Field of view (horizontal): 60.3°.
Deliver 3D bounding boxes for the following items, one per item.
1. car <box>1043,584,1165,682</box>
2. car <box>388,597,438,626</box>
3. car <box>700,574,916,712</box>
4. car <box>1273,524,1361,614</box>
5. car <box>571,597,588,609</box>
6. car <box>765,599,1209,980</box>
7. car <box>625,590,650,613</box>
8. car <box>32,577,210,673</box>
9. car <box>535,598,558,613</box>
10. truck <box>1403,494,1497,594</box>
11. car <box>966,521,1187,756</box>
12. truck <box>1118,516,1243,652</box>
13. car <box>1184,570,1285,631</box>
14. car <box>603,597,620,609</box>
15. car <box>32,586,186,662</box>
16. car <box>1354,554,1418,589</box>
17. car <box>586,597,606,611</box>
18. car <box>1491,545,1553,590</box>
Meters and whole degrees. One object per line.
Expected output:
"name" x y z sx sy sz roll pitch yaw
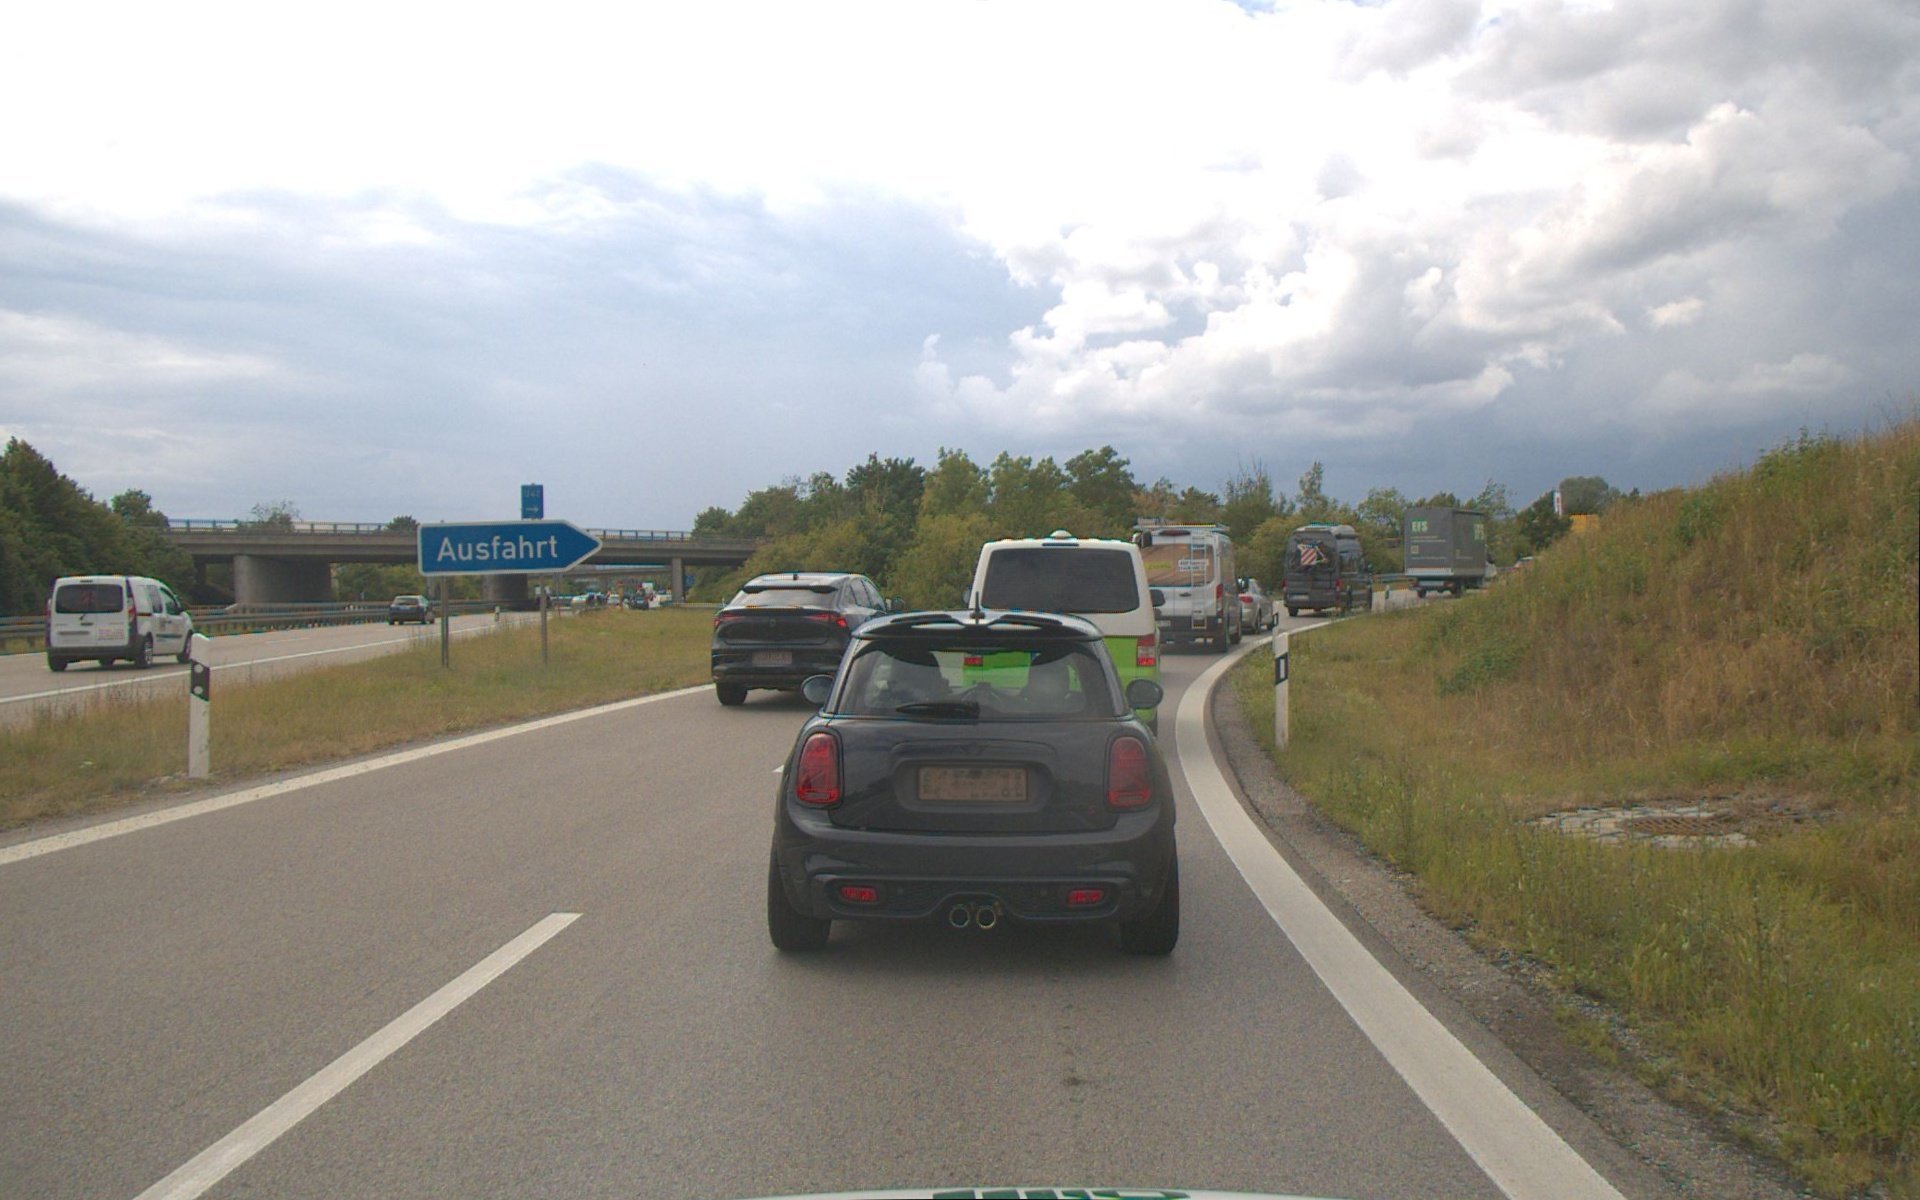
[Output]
"car" 2.322 0.472 25.899 1.725 1.423 3.728 -1 0 8
"car" -28.178 0.562 85.280 1.690 1.449 4.787 -1 0 -9
"car" -1.822 0.488 21.384 1.794 1.593 4.501 0 0 8
"car" 11.801 -1.010 54.464 2.062 2.845 3.998 1 1 24
"car" -45.214 0.381 196.352 1.748 1.423 4.295 -1 0 -10
"car" 0.073 0.726 8.192 1.692 1.438 3.724 0 0 -1
"car" -29.610 0.130 151.844 1.961 2.049 3.982 1 -1 -16
"car" -16.812 0.468 33.384 1.841 1.782 4.478 -1 0 -8
"car" -40.523 0.529 162.239 1.746 1.423 4.298 -1 0 -8
"truck" 20.974 -2.319 70.631 2.189 3.975 5.998 0 -1 33
"car" 1.287 0.318 16.561 1.746 2.049 4.004 0 0 11
"truck" 4.835 -0.362 35.599 2.132 2.705 5.113 -1 1 13
"car" 7.339 -0.001 43.918 1.828 1.536 4.000 0 0 22
"car" -44.316 0.351 210.581 1.746 1.423 4.022 -1 0 -7
"car" -22.107 0.579 43.233 1.957 1.817 5.401 -1 0 -9
"car" 20.583 -1.360 79.786 1.765 1.583 3.948 0 -1 35
"car" -37.935 0.423 172.495 1.746 1.423 4.542 -1 0 -8
"car" 27.282 -1.546 80.283 1.958 2.049 3.989 0 -1 33
